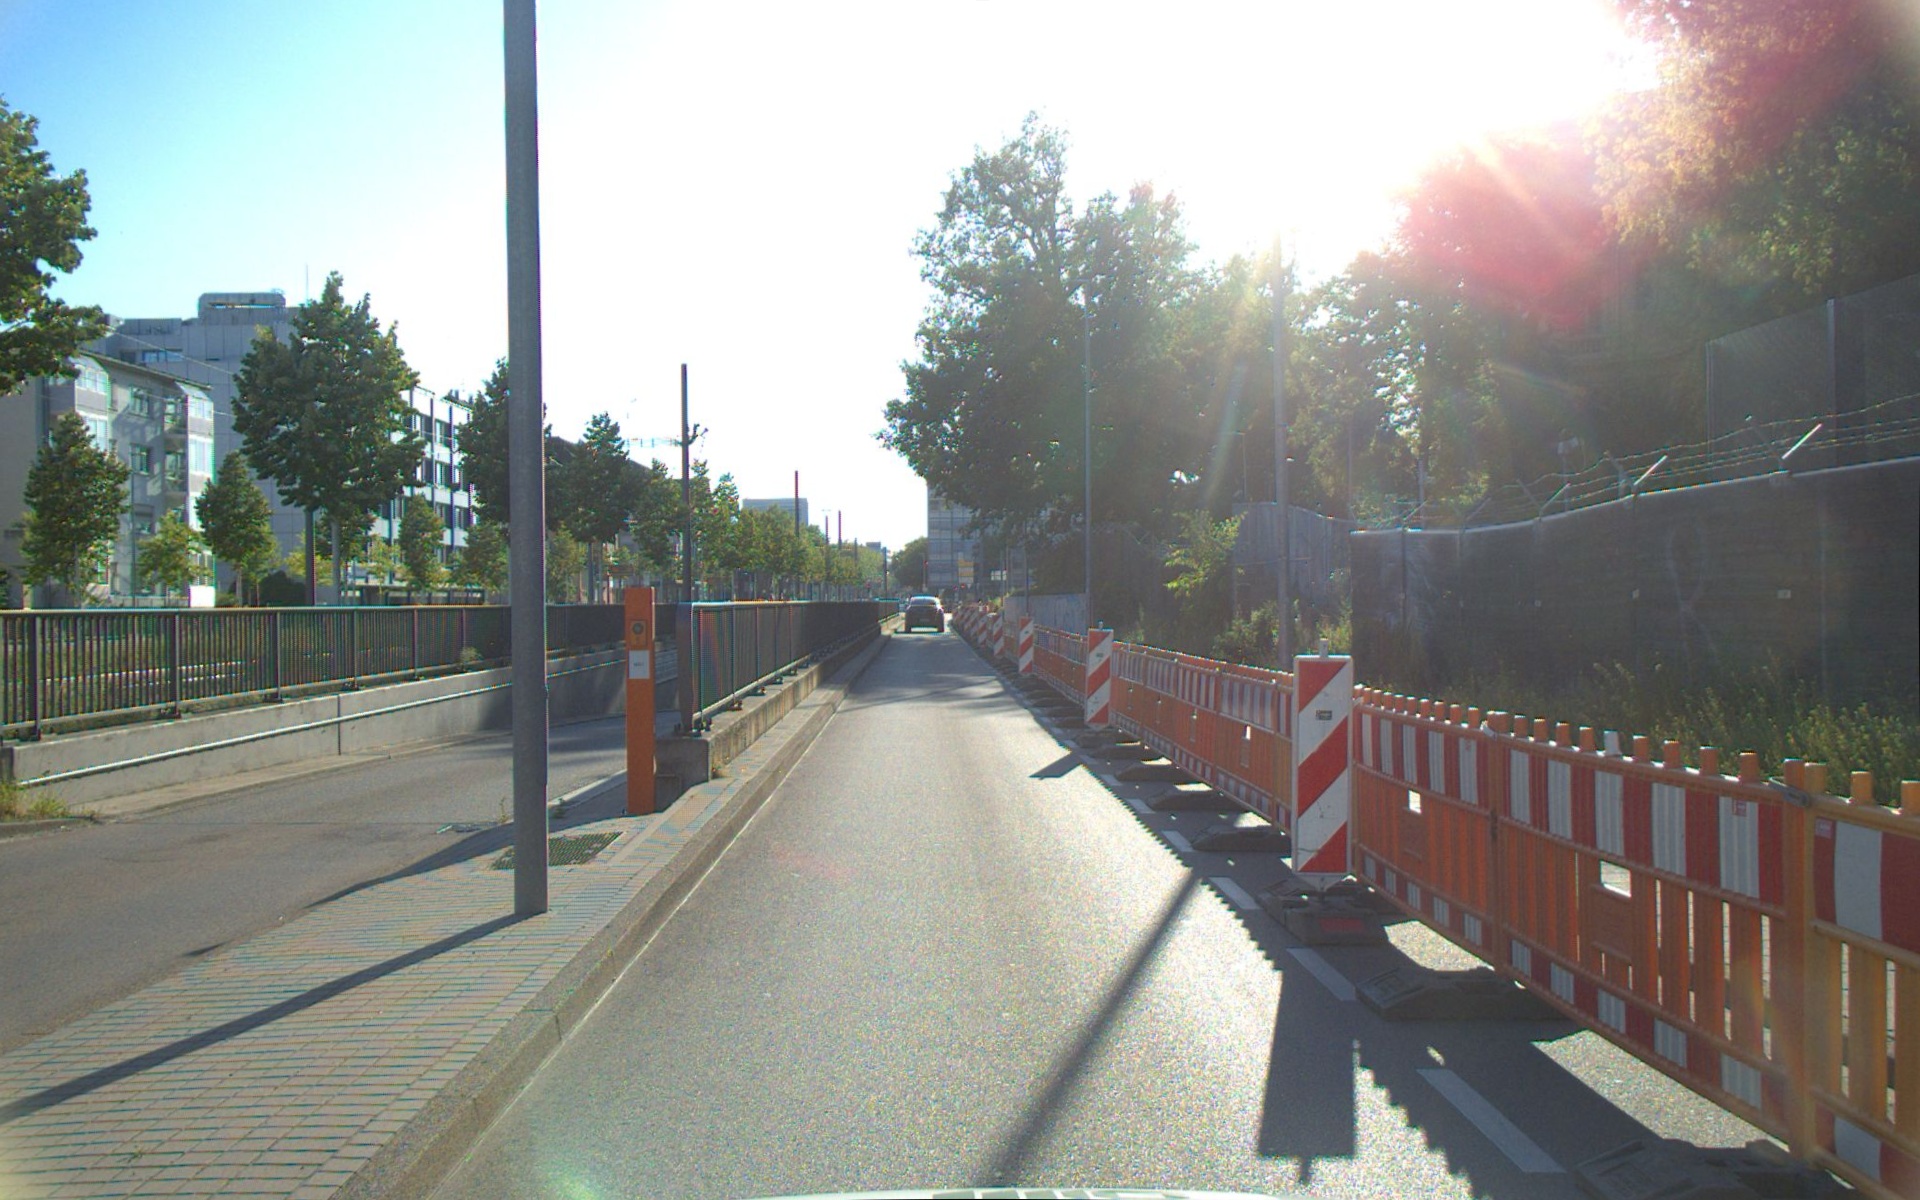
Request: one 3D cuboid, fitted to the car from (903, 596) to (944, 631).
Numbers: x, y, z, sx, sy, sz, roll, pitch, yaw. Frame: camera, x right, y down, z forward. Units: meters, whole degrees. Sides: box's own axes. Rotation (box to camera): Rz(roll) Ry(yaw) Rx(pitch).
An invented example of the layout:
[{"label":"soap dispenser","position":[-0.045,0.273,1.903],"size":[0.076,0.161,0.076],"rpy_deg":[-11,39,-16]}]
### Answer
[{"label":"car","position":[-1.802,0.693,83.393],"size":[1.964,1.688,3.999],"rpy_deg":[1,-1,-1]}]
